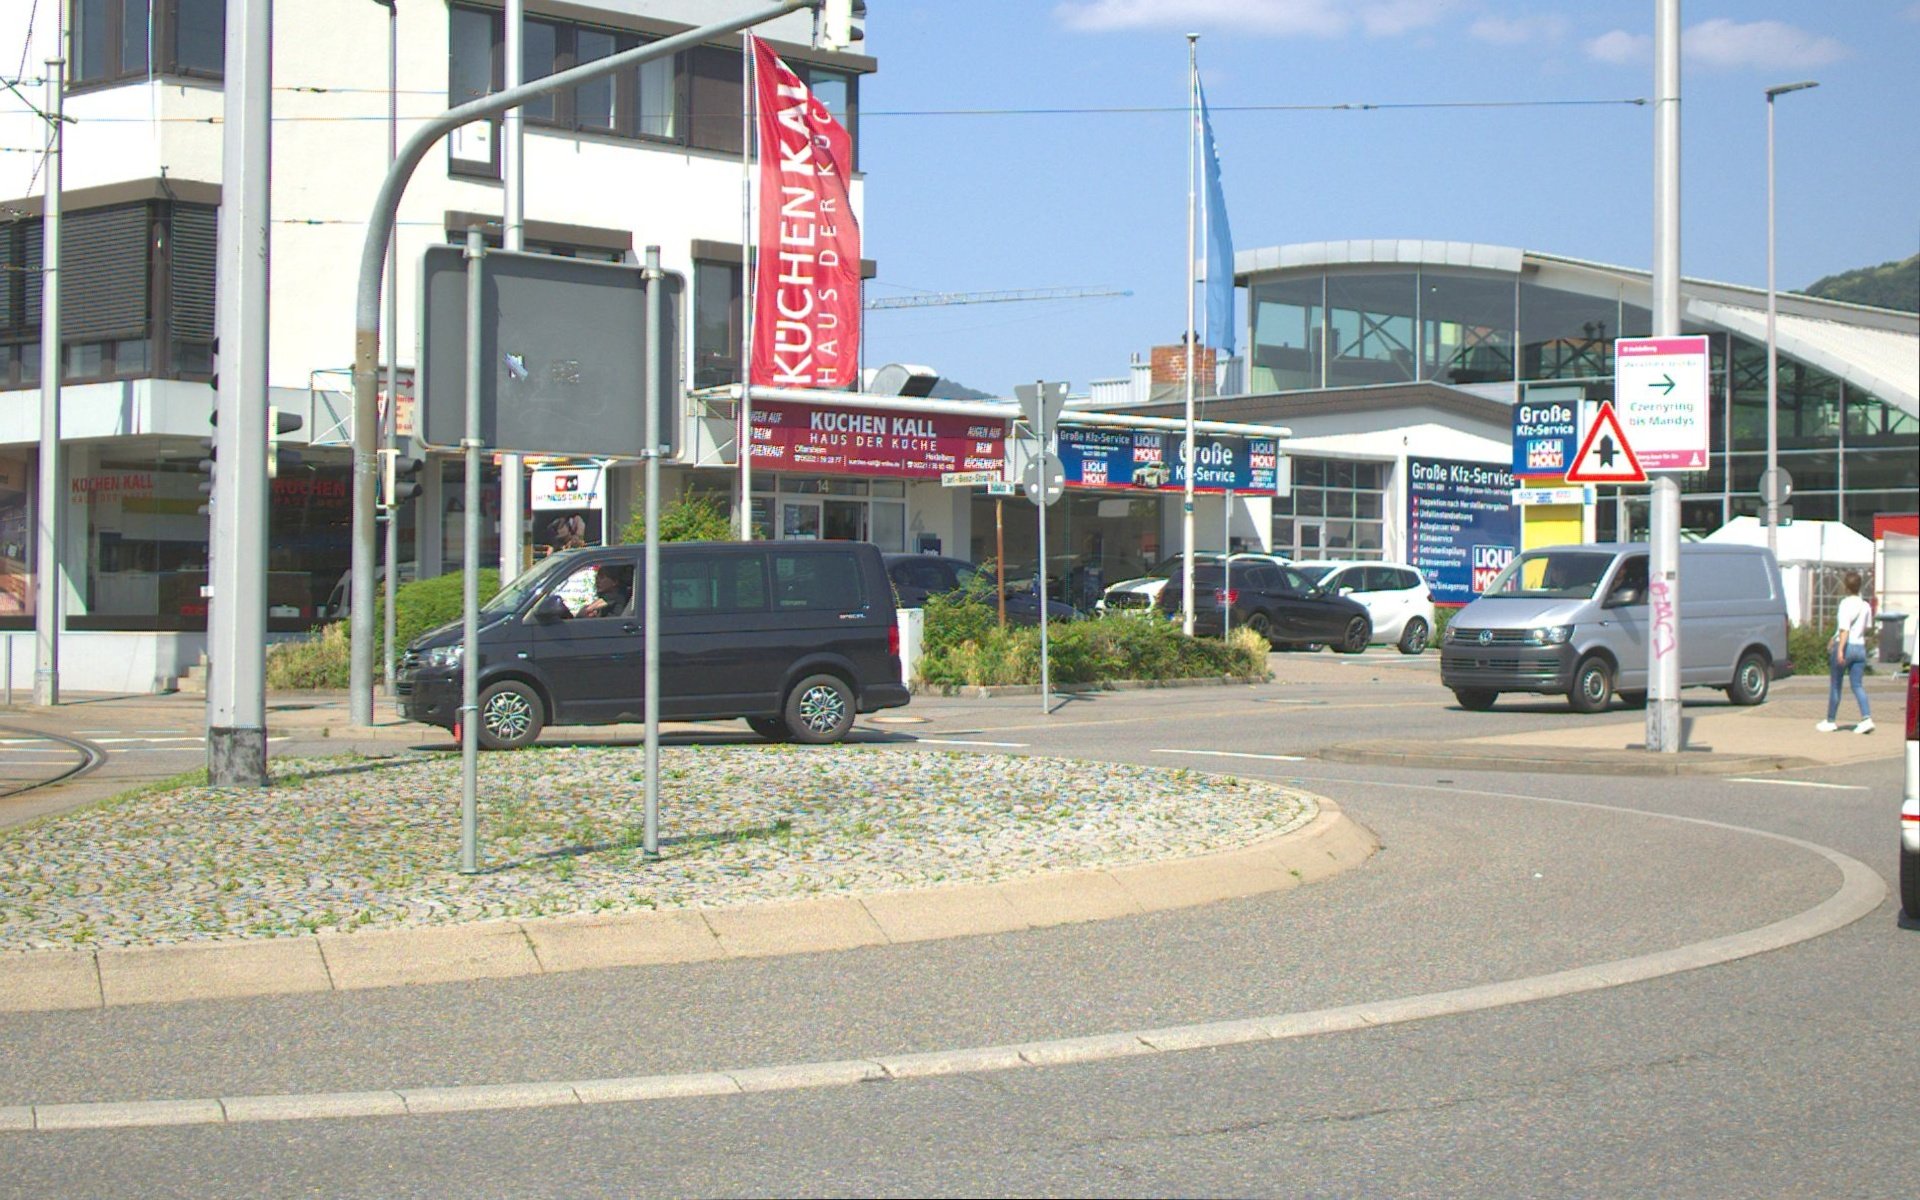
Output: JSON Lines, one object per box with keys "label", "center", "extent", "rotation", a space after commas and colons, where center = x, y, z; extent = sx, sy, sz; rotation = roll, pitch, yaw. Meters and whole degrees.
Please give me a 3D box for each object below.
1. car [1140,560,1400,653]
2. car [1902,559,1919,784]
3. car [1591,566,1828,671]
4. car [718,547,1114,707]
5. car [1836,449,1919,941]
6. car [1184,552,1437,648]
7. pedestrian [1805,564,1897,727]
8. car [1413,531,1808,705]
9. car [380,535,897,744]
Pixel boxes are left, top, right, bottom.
{"label": "car", "center": [5.006, 0.103, 55.100], "extent": [2.031, 1.422, 4.307], "rotation": [1, 0, 41]}
{"label": "car", "center": [8.848, 0.544, 28.244], "extent": [1.995, 1.727, 4.561], "rotation": [0, 0, 14]}
{"label": "car", "center": [11.949, 0.270, 54.651], "extent": [1.998, 1.612, 3.990], "rotation": [0, 0, 41]}
{"label": "car", "center": [-0.509, 0.322, 44.753], "extent": [5.267, 1.959, 1.965], "rotation": [0, 0, -45]}
{"label": "car", "center": [5.560, 0.408, 16.116], "extent": [2.165, 2.007, 5.012], "rotation": [2, 1, 21]}
{"label": "car", "center": [6.174, 0.011, 60.048], "extent": [1.885, 1.583, 4.916], "rotation": [-2, -2, 41]}
{"label": "pedestrian", "center": [9.137, 0.462, 35.265], "extent": [0.759, 1.651, 0.673], "rotation": [1, 0, 1]}
{"label": "car", "center": [7.694, 0.198, 40.413], "extent": [4.815, 1.929, 1.933], "rotation": [0, 0, -40]}
{"label": "car", "center": [-3.128, 0.347, 33.177], "extent": [4.622, 1.904, 2.099], "rotation": [0, 1, -17]}
